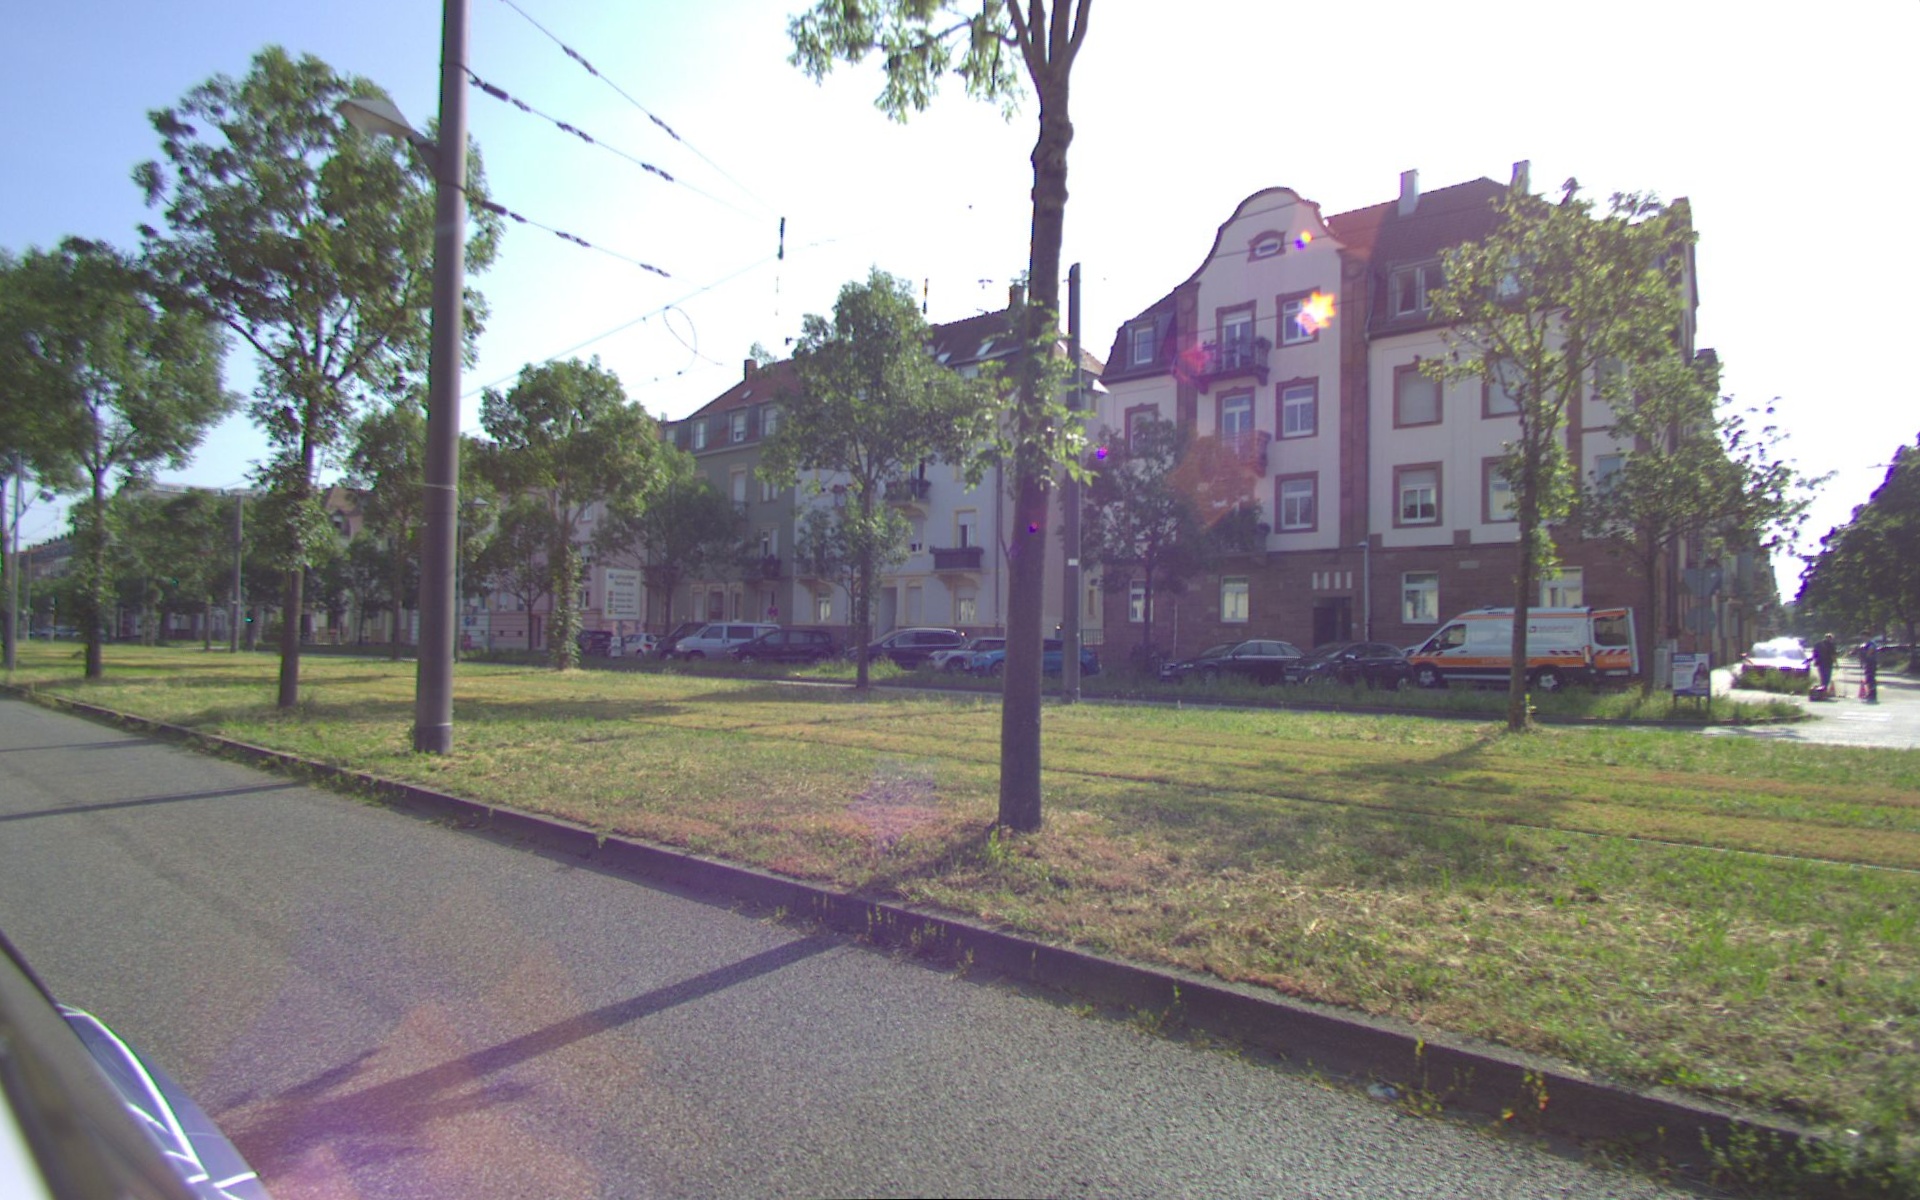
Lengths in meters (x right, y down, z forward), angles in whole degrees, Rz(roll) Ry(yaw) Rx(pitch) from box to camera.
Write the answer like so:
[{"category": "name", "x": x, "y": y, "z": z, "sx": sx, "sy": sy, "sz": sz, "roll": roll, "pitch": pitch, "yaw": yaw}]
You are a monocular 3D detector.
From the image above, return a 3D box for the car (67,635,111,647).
[{"category": "car", "x": -111.102, "y": 5.198, "z": 129.173, "sx": 3.947, "sy": 1.326, "sz": 1.667, "roll": -1, "pitch": 0, "yaw": -15}]

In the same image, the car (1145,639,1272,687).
[{"category": "car", "x": 6.937, "y": 1.723, "z": 28.320, "sx": 3.110, "sy": 1.169, "sz": 1.501, "roll": -1, "pitch": 0, "yaw": -17}]

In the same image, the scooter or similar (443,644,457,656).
[{"category": "scooter or similar", "x": -36.331, "y": 3.541, "z": 72.066, "sx": 0.596, "sy": 0.819, "sz": 1.223, "roll": 0, "pitch": 0, "yaw": -39}]

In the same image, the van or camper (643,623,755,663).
[{"category": "van or camper", "x": -11.836, "y": 1.911, "z": 45.836, "sx": 4.767, "sy": 1.636, "sz": 2.009, "roll": -1, "pitch": 0, "yaw": -17}]

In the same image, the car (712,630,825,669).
[{"category": "car", "x": -7.827, "y": 1.998, "z": 41.290, "sx": 4.402, "sy": 1.430, "sz": 1.980, "roll": -1, "pitch": 0, "yaw": -13}]

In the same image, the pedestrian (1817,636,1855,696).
[{"category": "pedestrian", "x": 23.481, "y": 1.756, "z": 27.115, "sx": 0.726, "sy": 1.534, "sz": 0.630, "roll": -1, "pitch": 0, "yaw": 44}]

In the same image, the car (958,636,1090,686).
[{"category": "car", "x": 2.047, "y": 1.939, "z": 32.699, "sx": 3.932, "sy": 1.427, "sz": 1.582, "roll": -1, "pitch": 0, "yaw": -17}]

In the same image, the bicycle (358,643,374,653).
[{"category": "bicycle", "x": -48.807, "y": 3.915, "z": 83.141, "sx": 1.945, "sy": 0.795, "sz": 0.433, "roll": -1, "pitch": 0, "yaw": 39}]

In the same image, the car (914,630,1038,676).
[{"category": "car", "x": 0.532, "y": 1.790, "z": 34.753, "sx": 3.932, "sy": 1.427, "sz": 1.581, "roll": -1, "pitch": 0, "yaw": -15}]

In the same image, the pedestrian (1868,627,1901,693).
[{"category": "pedestrian", "x": 24.039, "y": 1.549, "z": 26.311, "sx": 0.619, "sy": 1.678, "sz": 0.575, "roll": -1, "pitch": 0, "yaw": 44}]

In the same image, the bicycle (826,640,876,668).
[{"category": "bicycle", "x": -4.262, "y": 2.114, "z": 39.578, "sx": 1.992, "sy": 1.057, "sz": 0.462, "roll": -1, "pitch": 0, "yaw": 27}]

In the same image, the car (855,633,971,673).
[{"category": "car", "x": -1.730, "y": 1.908, "z": 36.859, "sx": 3.932, "sy": 1.278, "sz": 1.644, "roll": -1, "pitch": 0, "yaw": -17}]

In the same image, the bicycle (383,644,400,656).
[{"category": "bicycle", "x": -44.216, "y": 3.911, "z": 78.747, "sx": 1.945, "sy": 0.863, "sz": 0.443, "roll": -1, "pitch": 0, "yaw": 39}]

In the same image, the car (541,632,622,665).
[{"category": "car", "x": -20.680, "y": 2.624, "z": 55.255, "sx": 4.769, "sy": 1.641, "sz": 1.974, "roll": -1, "pitch": -1, "yaw": 39}]

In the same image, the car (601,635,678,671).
[{"category": "car", "x": -16.309, "y": 2.651, "z": 51.372, "sx": 4.154, "sy": 1.641, "sz": 1.870, "roll": -1, "pitch": -1, "yaw": 42}]

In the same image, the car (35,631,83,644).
[{"category": "car", "x": -130.630, "y": 5.376, "z": 146.769, "sx": 4.868, "sy": 1.739, "sz": 1.862, "roll": -1, "pitch": 0, "yaw": -15}]

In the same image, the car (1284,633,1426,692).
[{"category": "car", "x": 10.097, "y": 1.569, "z": 25.919, "sx": 3.111, "sy": 1.336, "sz": 1.501, "roll": -1, "pitch": 0, "yaw": -16}]

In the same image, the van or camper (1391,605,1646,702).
[{"category": "van or camper", "x": 16.396, "y": 1.463, "z": 29.985, "sx": 6.351, "sy": 2.586, "sz": 2.019, "roll": -1, "pitch": 0, "yaw": 40}]

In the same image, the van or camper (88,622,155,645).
[{"category": "van or camper", "x": -100.225, "y": 4.022, "z": 121.044, "sx": 5.826, "sy": 2.593, "sz": 2.205, "roll": -1, "pitch": 0, "yaw": -15}]

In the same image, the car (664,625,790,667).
[{"category": "car", "x": -10.031, "y": 1.938, "z": 43.412, "sx": 5.133, "sy": 1.636, "sz": 2.063, "roll": -1, "pitch": 0, "yaw": -16}]

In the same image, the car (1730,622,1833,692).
[{"category": "car", "x": 25.953, "y": 1.713, "z": 32.130, "sx": 2.010, "sy": 1.953, "sz": 4.620, "roll": -1, "pitch": 0, "yaw": 33}]
